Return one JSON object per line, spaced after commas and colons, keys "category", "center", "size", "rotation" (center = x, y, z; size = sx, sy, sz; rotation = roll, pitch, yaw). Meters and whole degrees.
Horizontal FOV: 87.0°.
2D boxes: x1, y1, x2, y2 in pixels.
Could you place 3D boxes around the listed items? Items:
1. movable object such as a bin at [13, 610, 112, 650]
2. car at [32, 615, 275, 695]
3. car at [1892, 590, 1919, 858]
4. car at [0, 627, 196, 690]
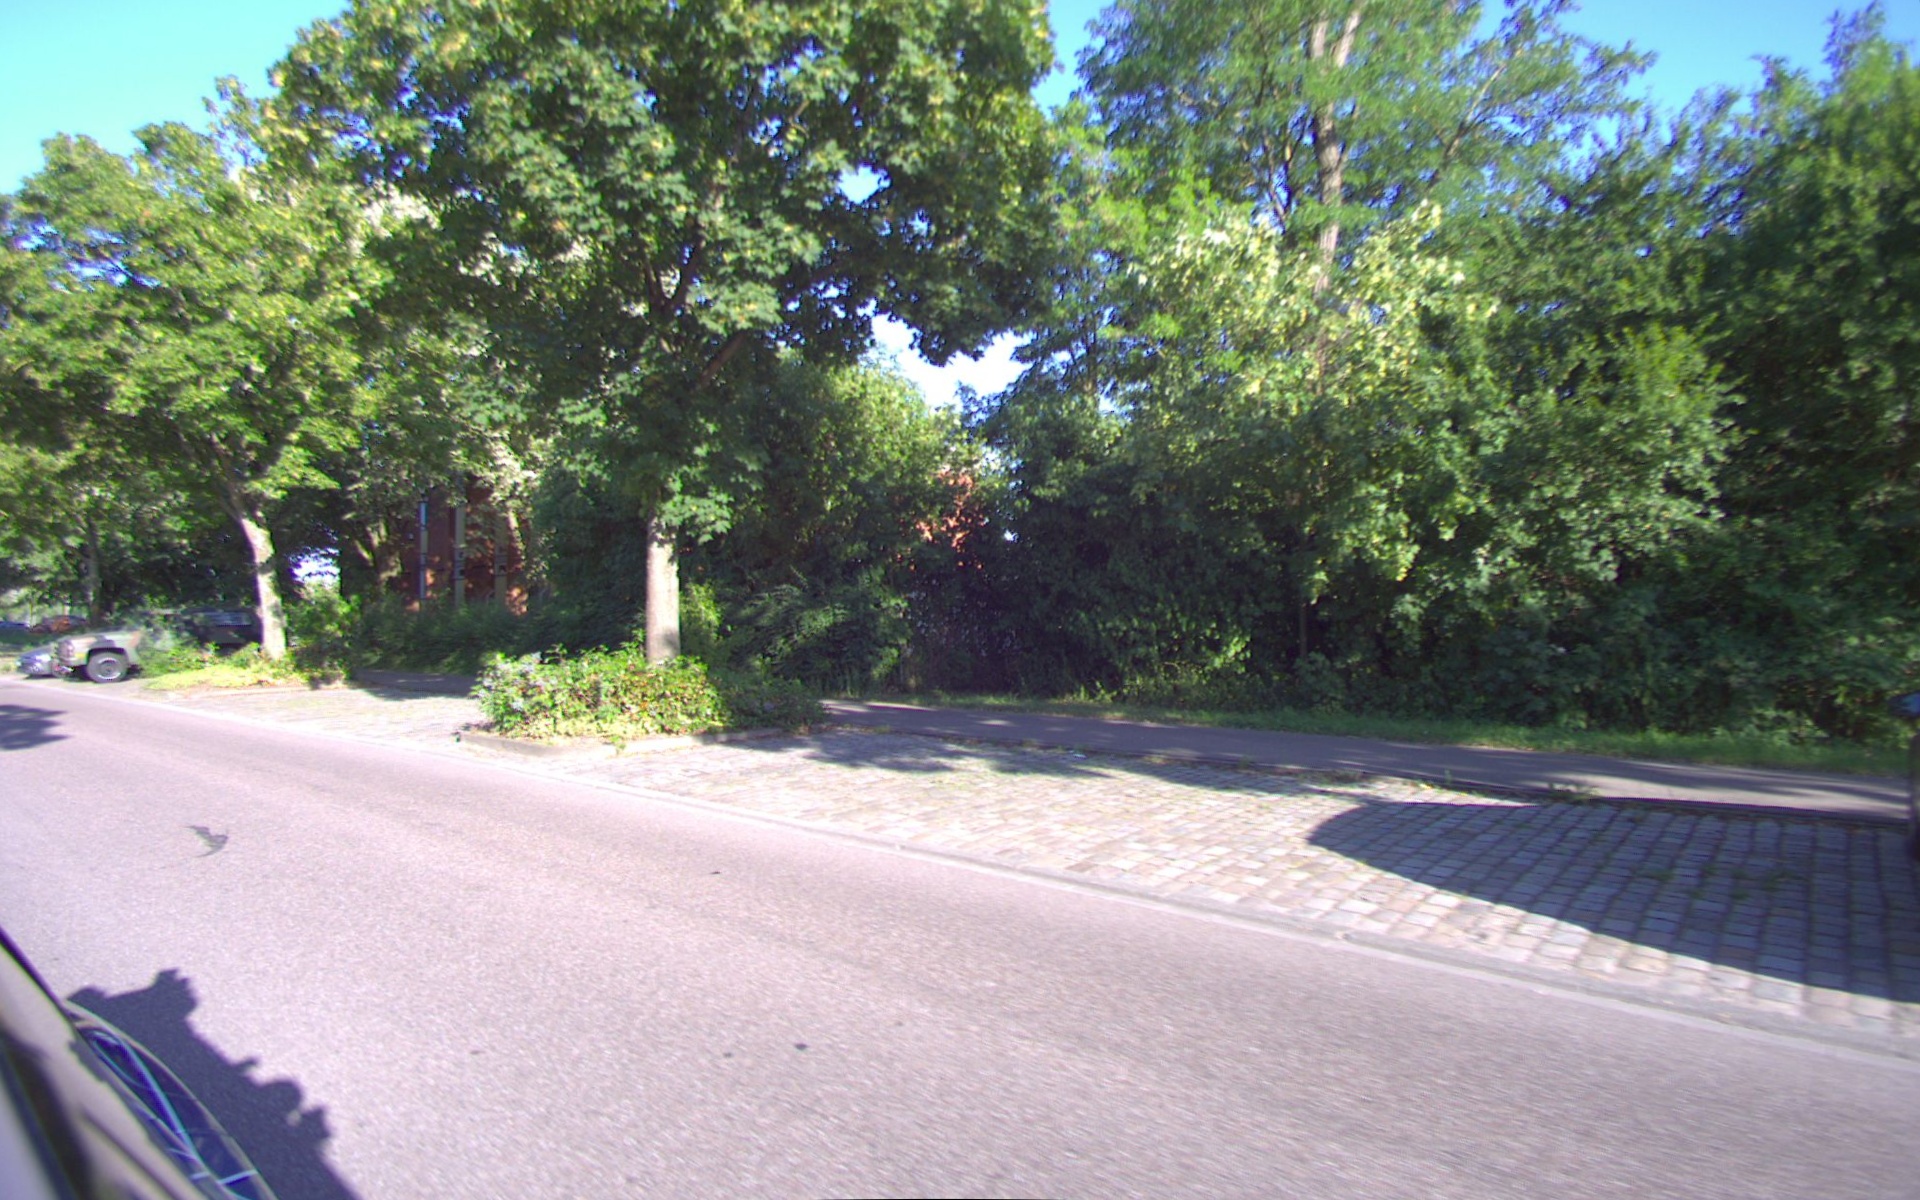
{"category": "movable object such as a bin", "center": [-62.337, 2.098, 70.362], "size": [4.729, 2.685, 2.168], "rotation": [0, -2, -7]}
{"category": "car", "center": [-22.401, 1.473, 28.301], "size": [2.172, 2.035, 4.956], "rotation": [-2, -2, 39]}
{"category": "car", "center": [5.602, 0.693, 4.396], "size": [1.998, 1.490, 4.315], "rotation": [-2, 0, 39]}
{"category": "car", "center": [-25.785, 1.700, 30.394], "size": [1.702, 1.541, 4.175], "rotation": [-2, 1, 35]}
